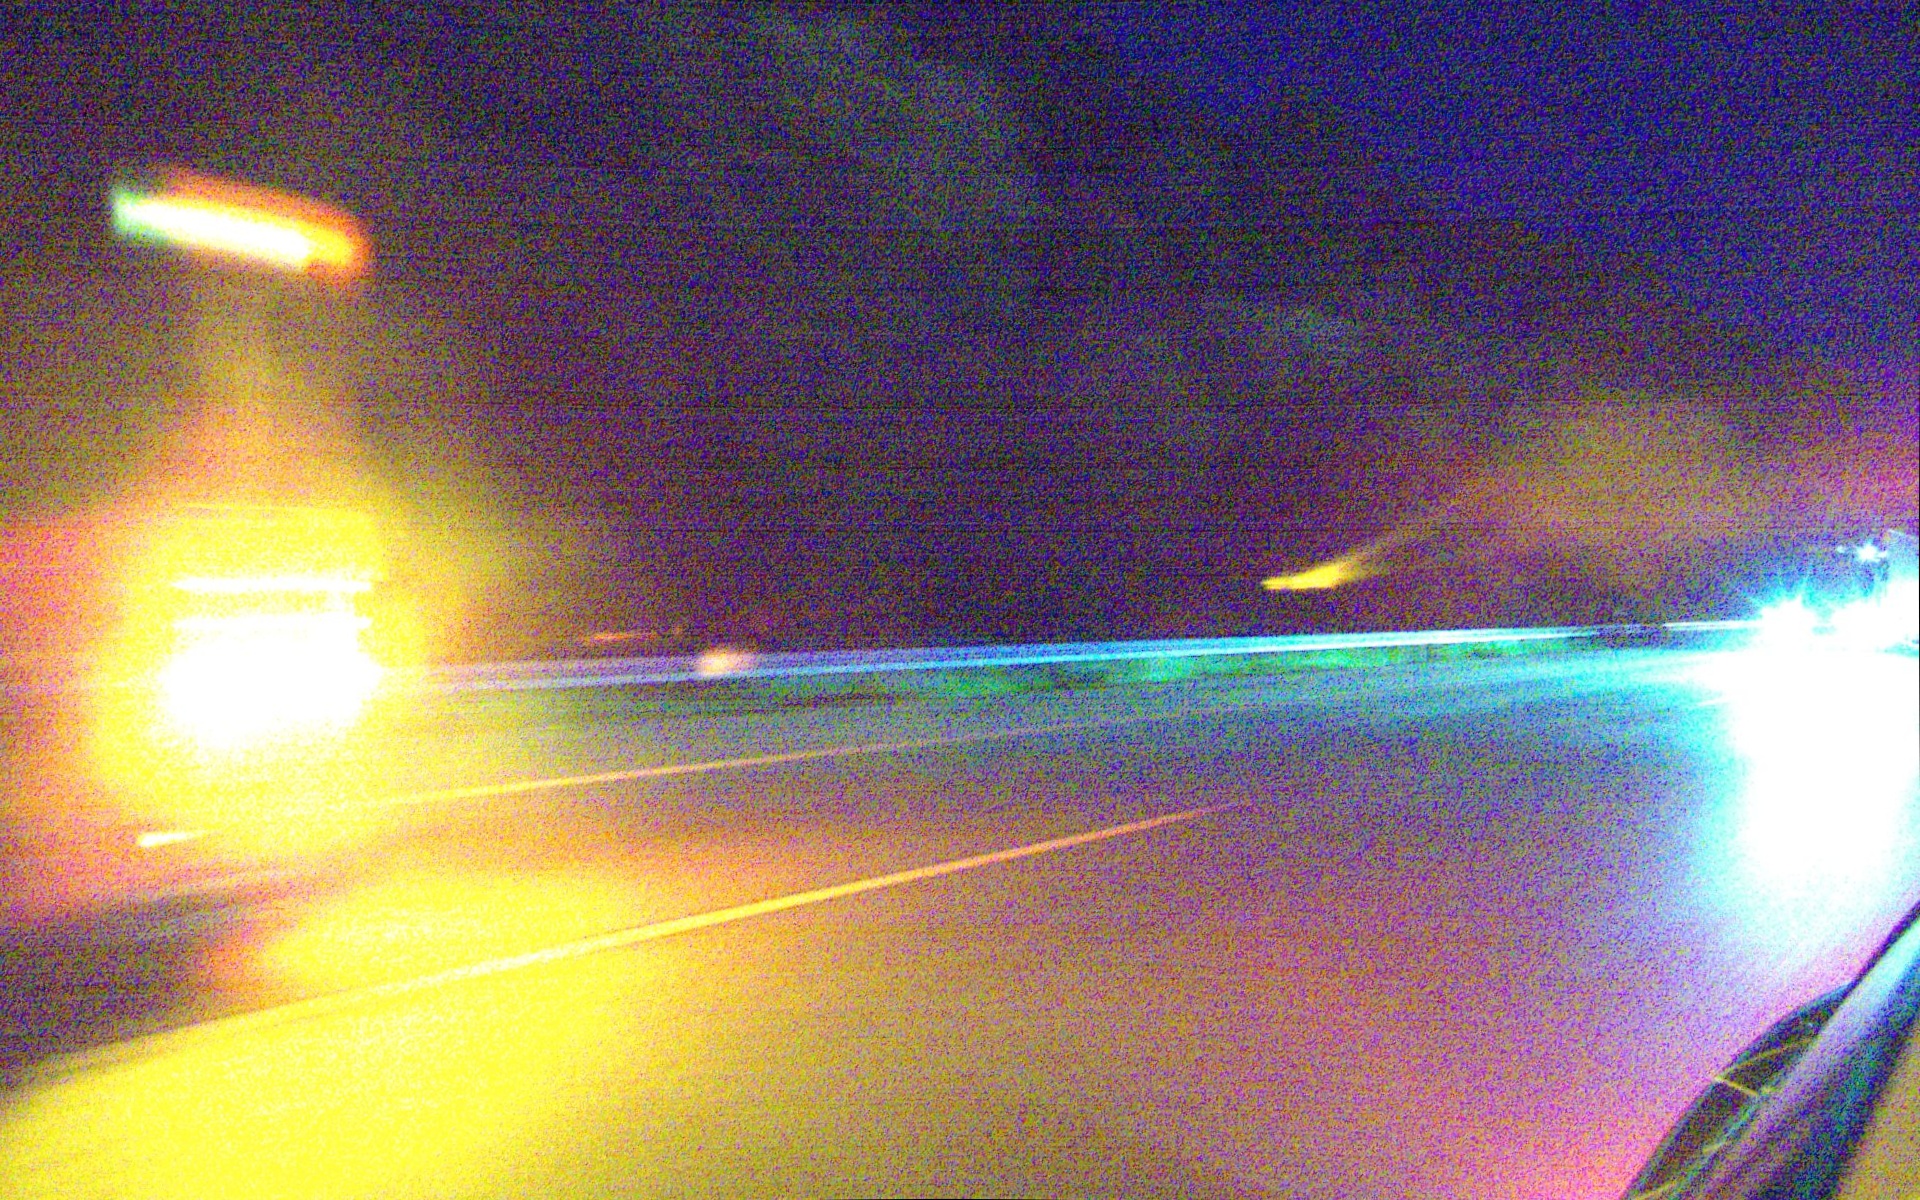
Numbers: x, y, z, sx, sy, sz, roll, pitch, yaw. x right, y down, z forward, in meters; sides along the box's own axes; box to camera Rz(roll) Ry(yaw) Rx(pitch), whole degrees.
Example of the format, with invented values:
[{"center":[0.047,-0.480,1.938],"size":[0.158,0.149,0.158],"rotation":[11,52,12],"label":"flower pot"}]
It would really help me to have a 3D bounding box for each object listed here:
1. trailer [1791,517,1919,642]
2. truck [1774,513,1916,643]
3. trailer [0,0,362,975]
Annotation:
[{"center":[35.548,-0.690,38.786],"size":[15.483,4.024,2.839],"rotation":[0,1,-40],"label":"trailer"},{"center":[29.489,-0.721,33.710],"size":[3.928,4.021,2.900],"rotation":[1,1,-39],"label":"truck"},{"center":[-8.266,-0.644,1.292],"size":[12.657,3.980,2.881],"rotation":[-1,2,-39],"label":"trailer"}]
